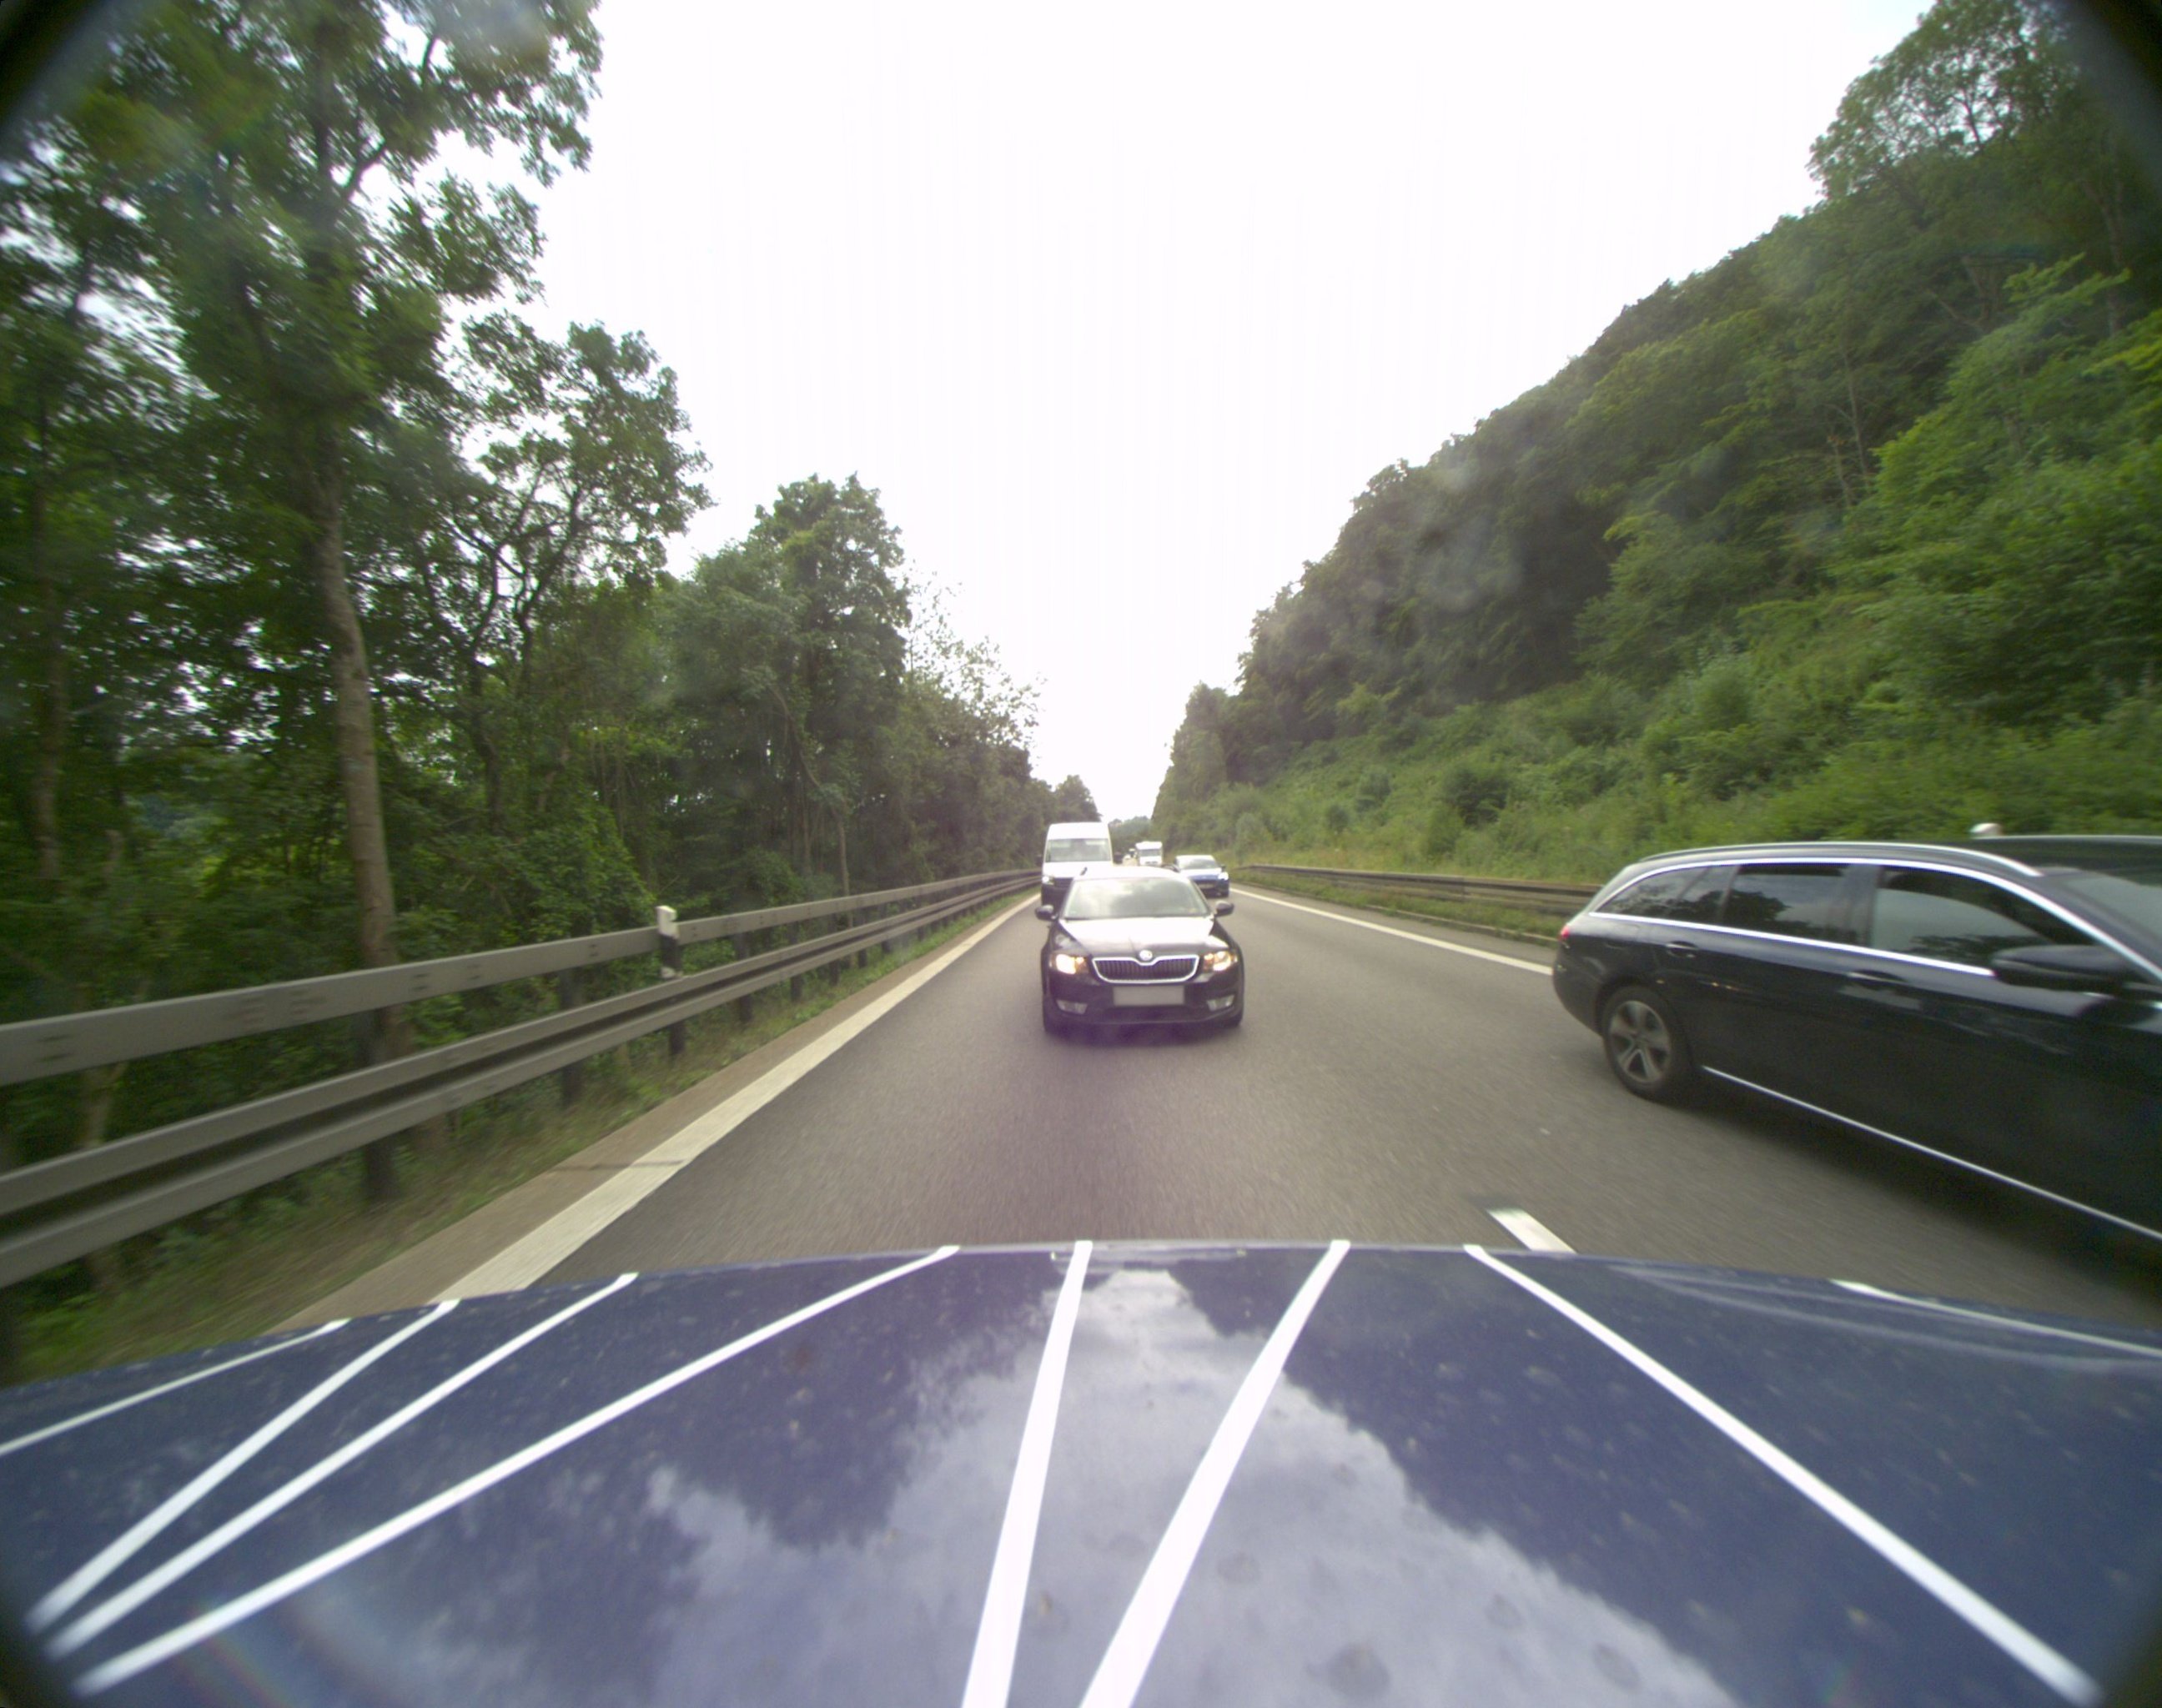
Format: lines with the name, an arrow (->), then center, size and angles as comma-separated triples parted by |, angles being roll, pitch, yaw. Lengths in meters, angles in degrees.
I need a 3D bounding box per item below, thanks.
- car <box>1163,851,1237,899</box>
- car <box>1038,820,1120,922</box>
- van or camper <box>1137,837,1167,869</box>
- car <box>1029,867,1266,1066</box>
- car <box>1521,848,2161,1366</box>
car -> 4.087, 0.671, 26.784 | 1.840, 1.460, 4.555 | -2, 0, 0
car -> -0.005, 0.415, 22.110 | 2.001, 2.545, 5.127 | -2, 0, 1
van or camper -> 6.363, -0.107, 69.165 | 2.270, 2.719, 7.025 | -2, 0, 2
car -> 0.551, 0.899, 8.008 | 1.751, 1.409, 4.401 | -2, 0, 1
car -> 4.017, 0.735, 2.843 | 1.765, 1.455, 5.123 | -2, 0, 0
